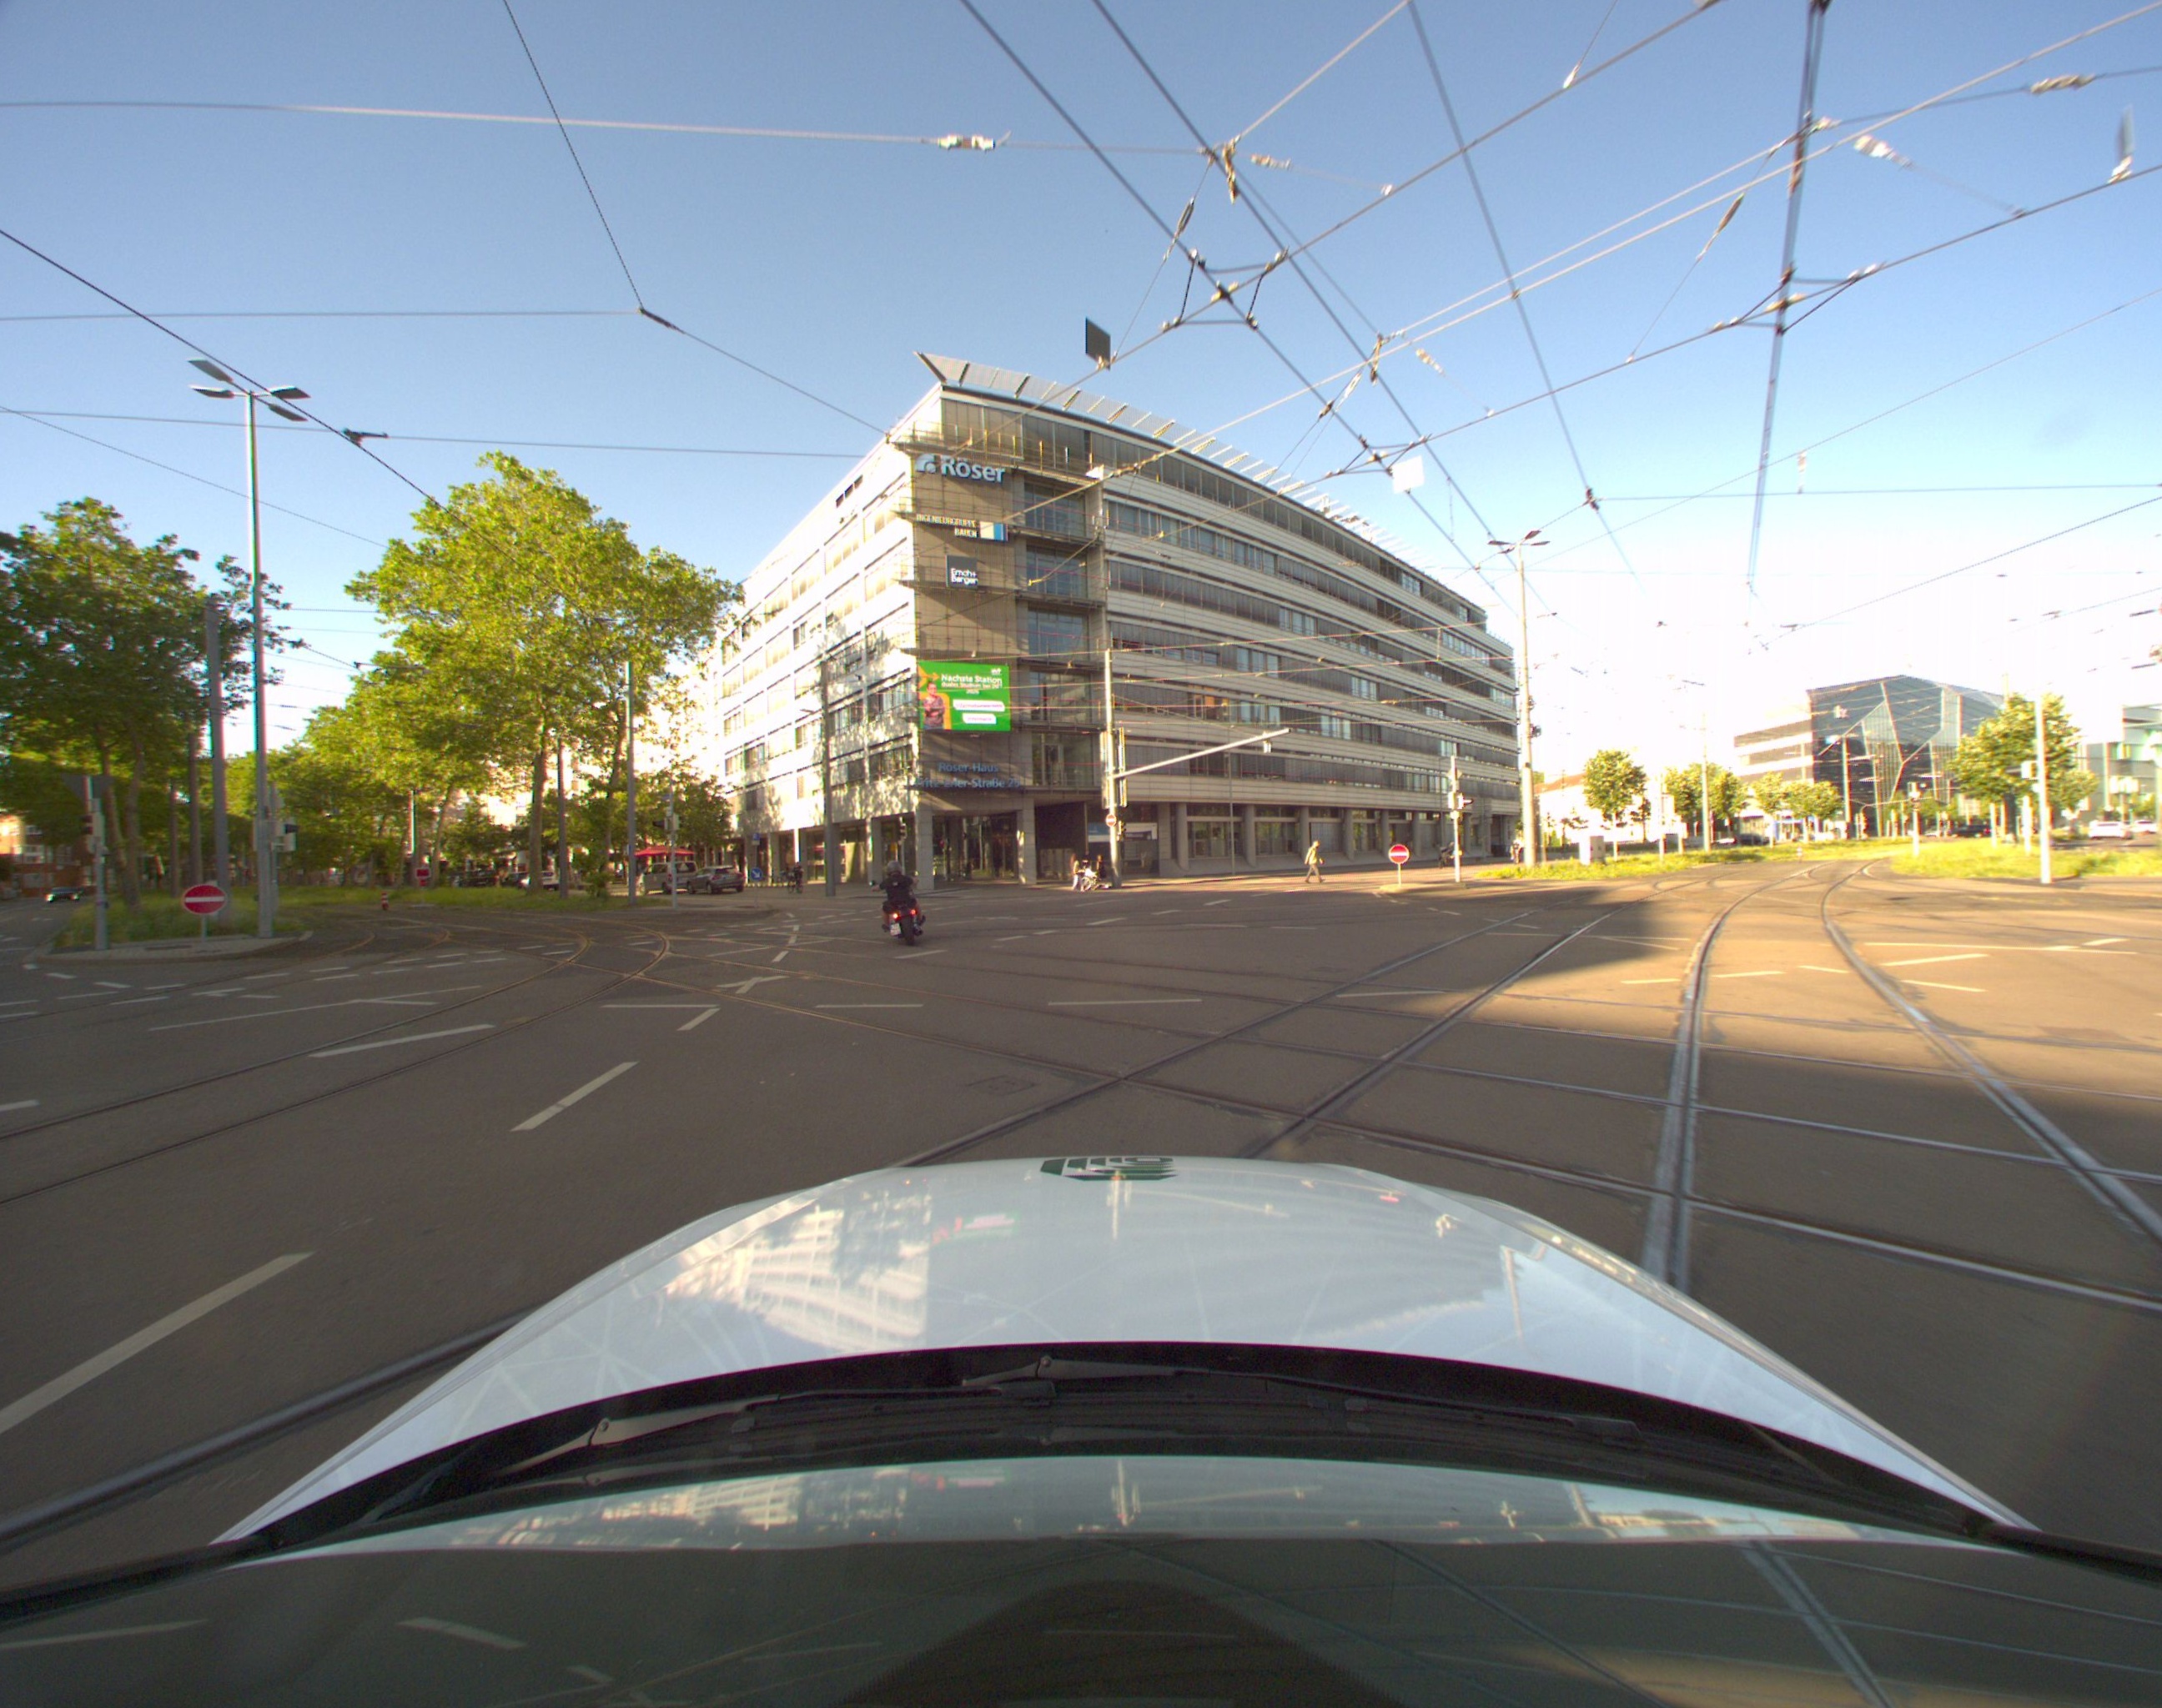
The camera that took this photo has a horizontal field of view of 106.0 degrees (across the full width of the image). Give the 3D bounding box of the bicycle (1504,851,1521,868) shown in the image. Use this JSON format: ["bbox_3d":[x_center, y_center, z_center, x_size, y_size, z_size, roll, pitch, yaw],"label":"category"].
[{"bbox_3d":[30.033,0.364,56.668,0.636,1.107,1.695,-2,-1,41],"label":"bicycle"}]

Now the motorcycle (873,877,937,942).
[{"bbox_3d":[-3.435,1.018,15.737,1.008,1.125,2.309,-1,-1,-17],"label":"motorcycle"}]

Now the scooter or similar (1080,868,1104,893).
[{"bbox_3d":[0.515,1.245,38.587,1.009,1.129,0.552,-2,-1,10],"label":"scooter or similar"}]

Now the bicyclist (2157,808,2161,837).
[{"bbox_3d":[100.134,-2.899,74.996,1.476,2.624,1.009,-1,-1,-30],"label":"bicyclist"}]

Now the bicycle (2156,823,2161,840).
[{"bbox_3d":[100.199,-2.099,75.006,3.585,1.580,1.009,-1,-1,-31],"label":"bicycle"}]

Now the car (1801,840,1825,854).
[{"bbox_3d":[92.183,-0.879,102.550,3.928,1.724,1.752,-2,0,-42],"label":"car"}]

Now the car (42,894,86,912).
[{"bbox_3d":[-95.093,4.582,76.170,2.011,1.499,3.847,0,-1,-43],"label":"car"}]

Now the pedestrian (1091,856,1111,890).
[{"bbox_3d":[0.968,0.937,39.972,0.714,1.617,0.659,-2,-1,30],"label":"pedestrian"}]

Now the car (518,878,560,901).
[{"bbox_3d":[-42.674,2.794,64.098,3.819,1.638,1.876,-2,-1,43],"label":"car"}]

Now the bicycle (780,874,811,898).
[{"bbox_3d":[-14.610,1.631,41.608,1.824,1.163,0.617,-1,3,41],"label":"bicycle"}]

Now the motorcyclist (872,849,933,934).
[{"bbox_3d":[-3.457,0.685,15.699,1.025,1.552,1.279,-1,0,-17],"label":"motorcyclist"}]

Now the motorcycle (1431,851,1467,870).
[{"bbox_3d":[24.467,0.438,54.173,2.958,1.232,0.975,-1,-1,-40],"label":"motorcycle"}]

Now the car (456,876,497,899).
[{"bbox_3d":[-55.939,3.080,75.345,4.357,1.977,2.049,-2,0,40],"label":"car"}]

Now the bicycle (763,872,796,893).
[{"bbox_3d":[-18.311,1.722,49.478,1.849,1.151,0.464,-3,0,-44],"label":"bicycle"}]

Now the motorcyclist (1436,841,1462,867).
[{"bbox_3d":[24.517,-0.005,54.224,1.468,1.731,1.010,-1,-1,-40],"label":"motorcyclist"}]

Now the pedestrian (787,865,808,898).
[{"bbox_3d":[-14.518,1.411,41.748,0.827,1.611,0.610,-1,3,42],"label":"pedestrian"}]

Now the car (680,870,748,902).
[{"bbox_3d":[-20.553,1.775,45.514,4.359,1.572,1.877,-2,1,43],"label":"car"}]

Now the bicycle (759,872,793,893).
[{"bbox_3d":[-18.641,1.726,49.817,1.849,1.151,0.464,-3,0,-44],"label":"bicycle"}]

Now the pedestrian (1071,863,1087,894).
[{"bbox_3d":[-0.103,1.114,37.713,0.632,1.402,0.548,-2,-1,10],"label":"pedestrian"}]

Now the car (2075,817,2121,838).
[{"bbox_3d":[80.684,-2.101,64.613,4.015,1.508,1.888,0,0,-33],"label":"car"}]

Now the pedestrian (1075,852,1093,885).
[{"bbox_3d":[0.167,0.770,43.431,0.637,1.715,0.694,-2,-1,41],"label":"pedestrian"}]

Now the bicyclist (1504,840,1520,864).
[{"bbox_3d":[30.012,-0.147,56.665,0.756,1.667,1.000,-2,-1,41],"label":"bicyclist"}]

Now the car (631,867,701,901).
[{"bbox_3d":[-24.953,1.820,48.900,4.861,1.843,1.941,-3,1,40],"label":"car"}]

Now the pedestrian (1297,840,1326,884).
[{"bbox_3d":[9.699,0.350,34.307,0.874,1.823,0.681,-4,-3,44],"label":"pedestrian"}]

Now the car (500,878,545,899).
[{"bbox_3d":[-46.716,2.867,68.067,4.032,1.629,2.006,-3,0,40],"label":"car"}]

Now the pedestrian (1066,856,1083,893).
[{"bbox_3d":[-0.309,0.972,38.720,0.632,1.708,0.583,-2,-1,10],"label":"pedestrian"}]
